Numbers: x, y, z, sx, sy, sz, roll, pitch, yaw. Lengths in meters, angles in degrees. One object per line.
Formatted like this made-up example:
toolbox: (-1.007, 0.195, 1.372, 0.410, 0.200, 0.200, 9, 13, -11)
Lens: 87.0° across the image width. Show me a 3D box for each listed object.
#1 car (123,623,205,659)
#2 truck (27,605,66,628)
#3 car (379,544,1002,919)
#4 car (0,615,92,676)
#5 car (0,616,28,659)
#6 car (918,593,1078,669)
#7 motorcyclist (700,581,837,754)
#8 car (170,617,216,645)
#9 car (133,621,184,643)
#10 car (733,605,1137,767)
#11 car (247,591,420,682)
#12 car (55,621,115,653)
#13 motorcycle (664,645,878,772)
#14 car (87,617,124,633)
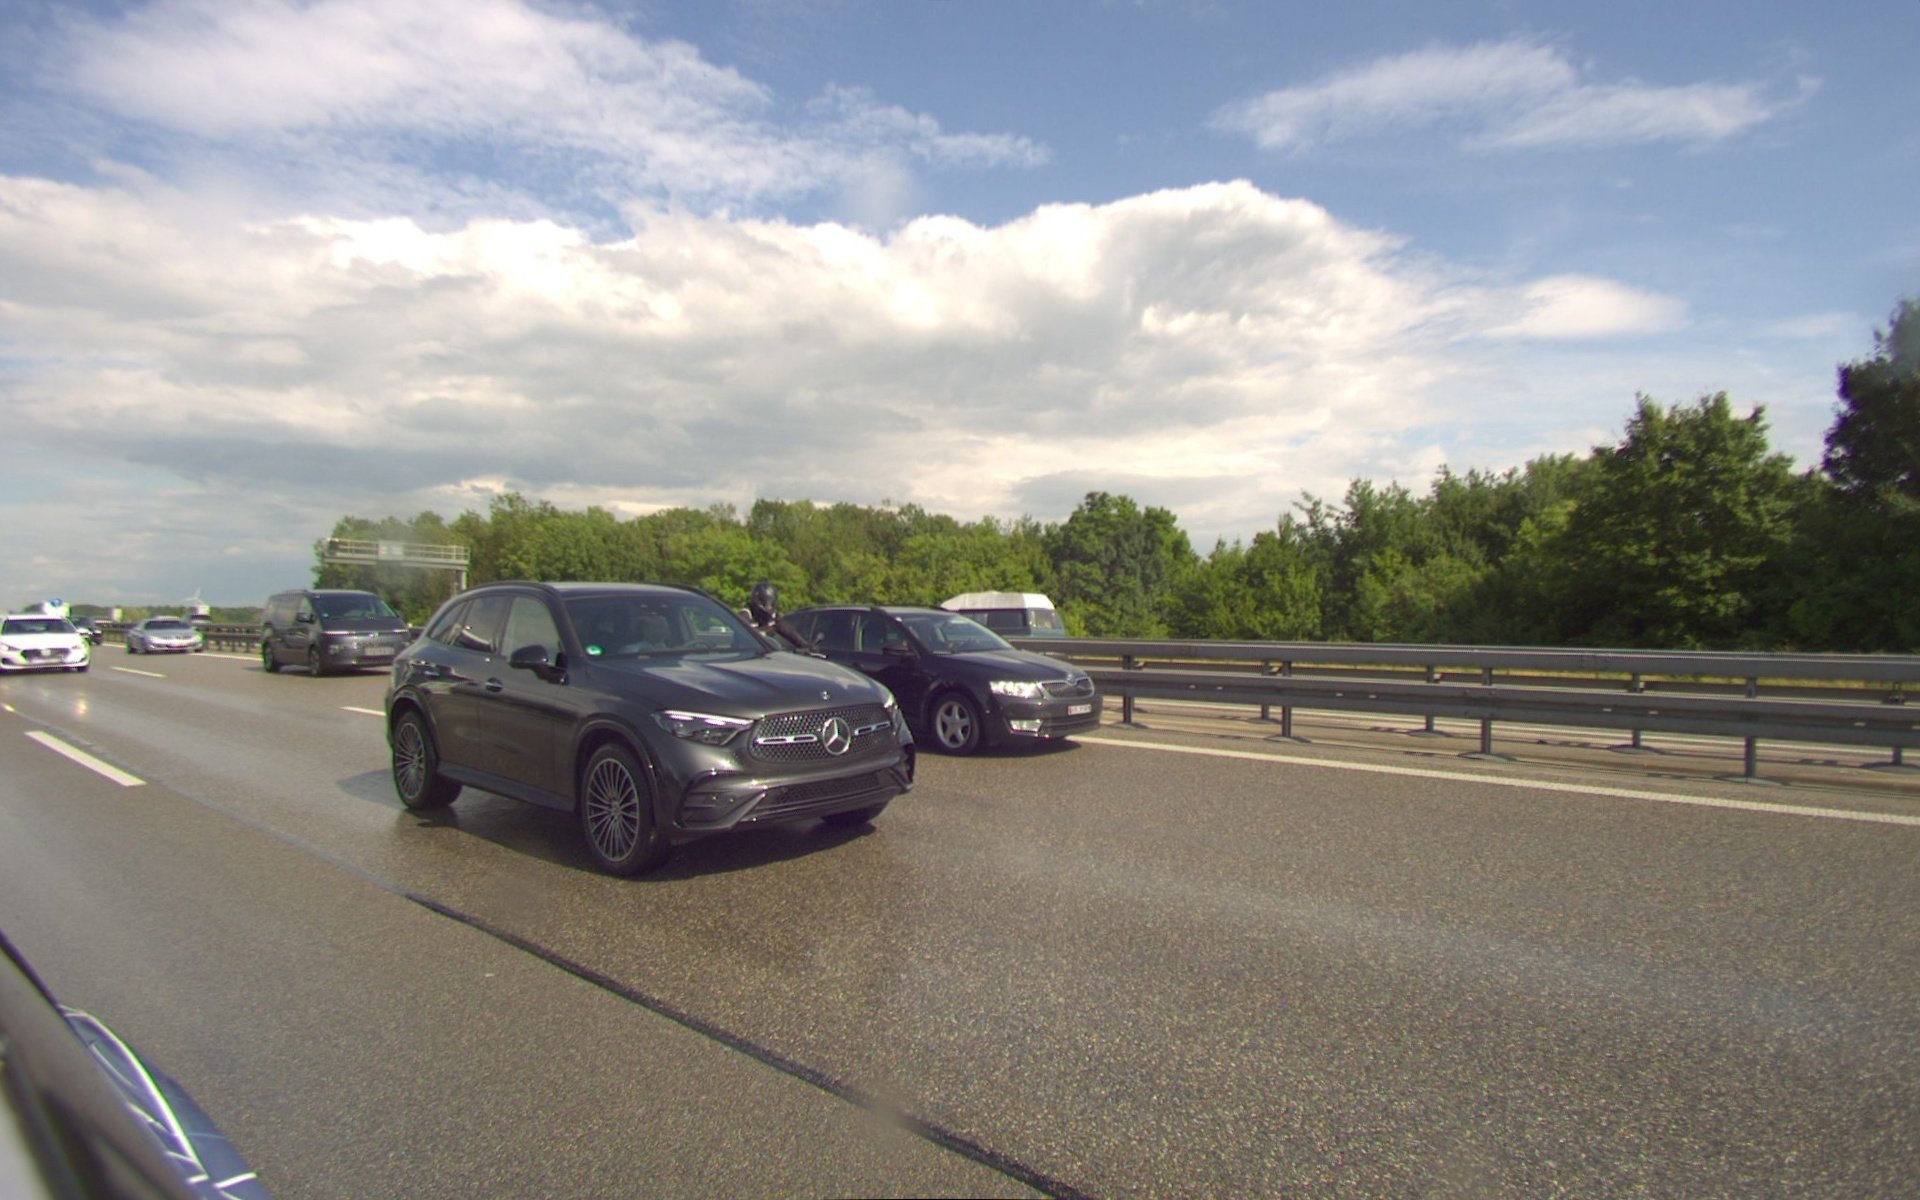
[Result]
car: (-29.250, 1.465, 37.157, 3.583, 1.198, 1.832, -1, -1, 43)
truck: (-123.898, 2.193, 137.270, 8.717, 3.009, 2.886, -1, 0, 41)
car: (-2.085, 0.620, 6.822, 4.625, 1.692, 1.856, -1, -1, 42)
car: (-23.340, 1.094, 25.409, 4.239, 1.408, 1.785, -1, -1, 42)
car: (-33.117, 1.264, 34.470, 3.997, 1.409, 1.577, -1, -1, 40)
car: (1.036, 0.856, 29.251, 4.360, 2.029, 1.973, -1, -1, 41)
motorcyclist: (-1.849, 0.612, 9.747, 1.092, 1.549, 0.788, -1, -1, 40)
car: (-60.002, 2.397, 79.113, 5.074, 2.029, 1.832, -1, 0, 40)
car: (-53.641, 2.106, 67.707, 3.995, 1.401, 1.844, -1, 0, 39)
car: (-0.431, 0.789, 11.175, 4.371, 1.435, 1.899, -1, -1, 42)
car: (-14.857, 0.798, 23.867, 5.232, 1.932, 1.973, -1, -1, 40)
car: (-41.205, 1.716, 47.656, 3.998, 1.431, 1.597, -1, -1, 41)
motorcycle: (-1.879, 0.980, 9.764, 2.387, 1.035, 0.683, -1, -1, 41)
car: (-74.430, 2.146, 88.154, 4.492, 1.364, 1.848, -1, -1, 42)
